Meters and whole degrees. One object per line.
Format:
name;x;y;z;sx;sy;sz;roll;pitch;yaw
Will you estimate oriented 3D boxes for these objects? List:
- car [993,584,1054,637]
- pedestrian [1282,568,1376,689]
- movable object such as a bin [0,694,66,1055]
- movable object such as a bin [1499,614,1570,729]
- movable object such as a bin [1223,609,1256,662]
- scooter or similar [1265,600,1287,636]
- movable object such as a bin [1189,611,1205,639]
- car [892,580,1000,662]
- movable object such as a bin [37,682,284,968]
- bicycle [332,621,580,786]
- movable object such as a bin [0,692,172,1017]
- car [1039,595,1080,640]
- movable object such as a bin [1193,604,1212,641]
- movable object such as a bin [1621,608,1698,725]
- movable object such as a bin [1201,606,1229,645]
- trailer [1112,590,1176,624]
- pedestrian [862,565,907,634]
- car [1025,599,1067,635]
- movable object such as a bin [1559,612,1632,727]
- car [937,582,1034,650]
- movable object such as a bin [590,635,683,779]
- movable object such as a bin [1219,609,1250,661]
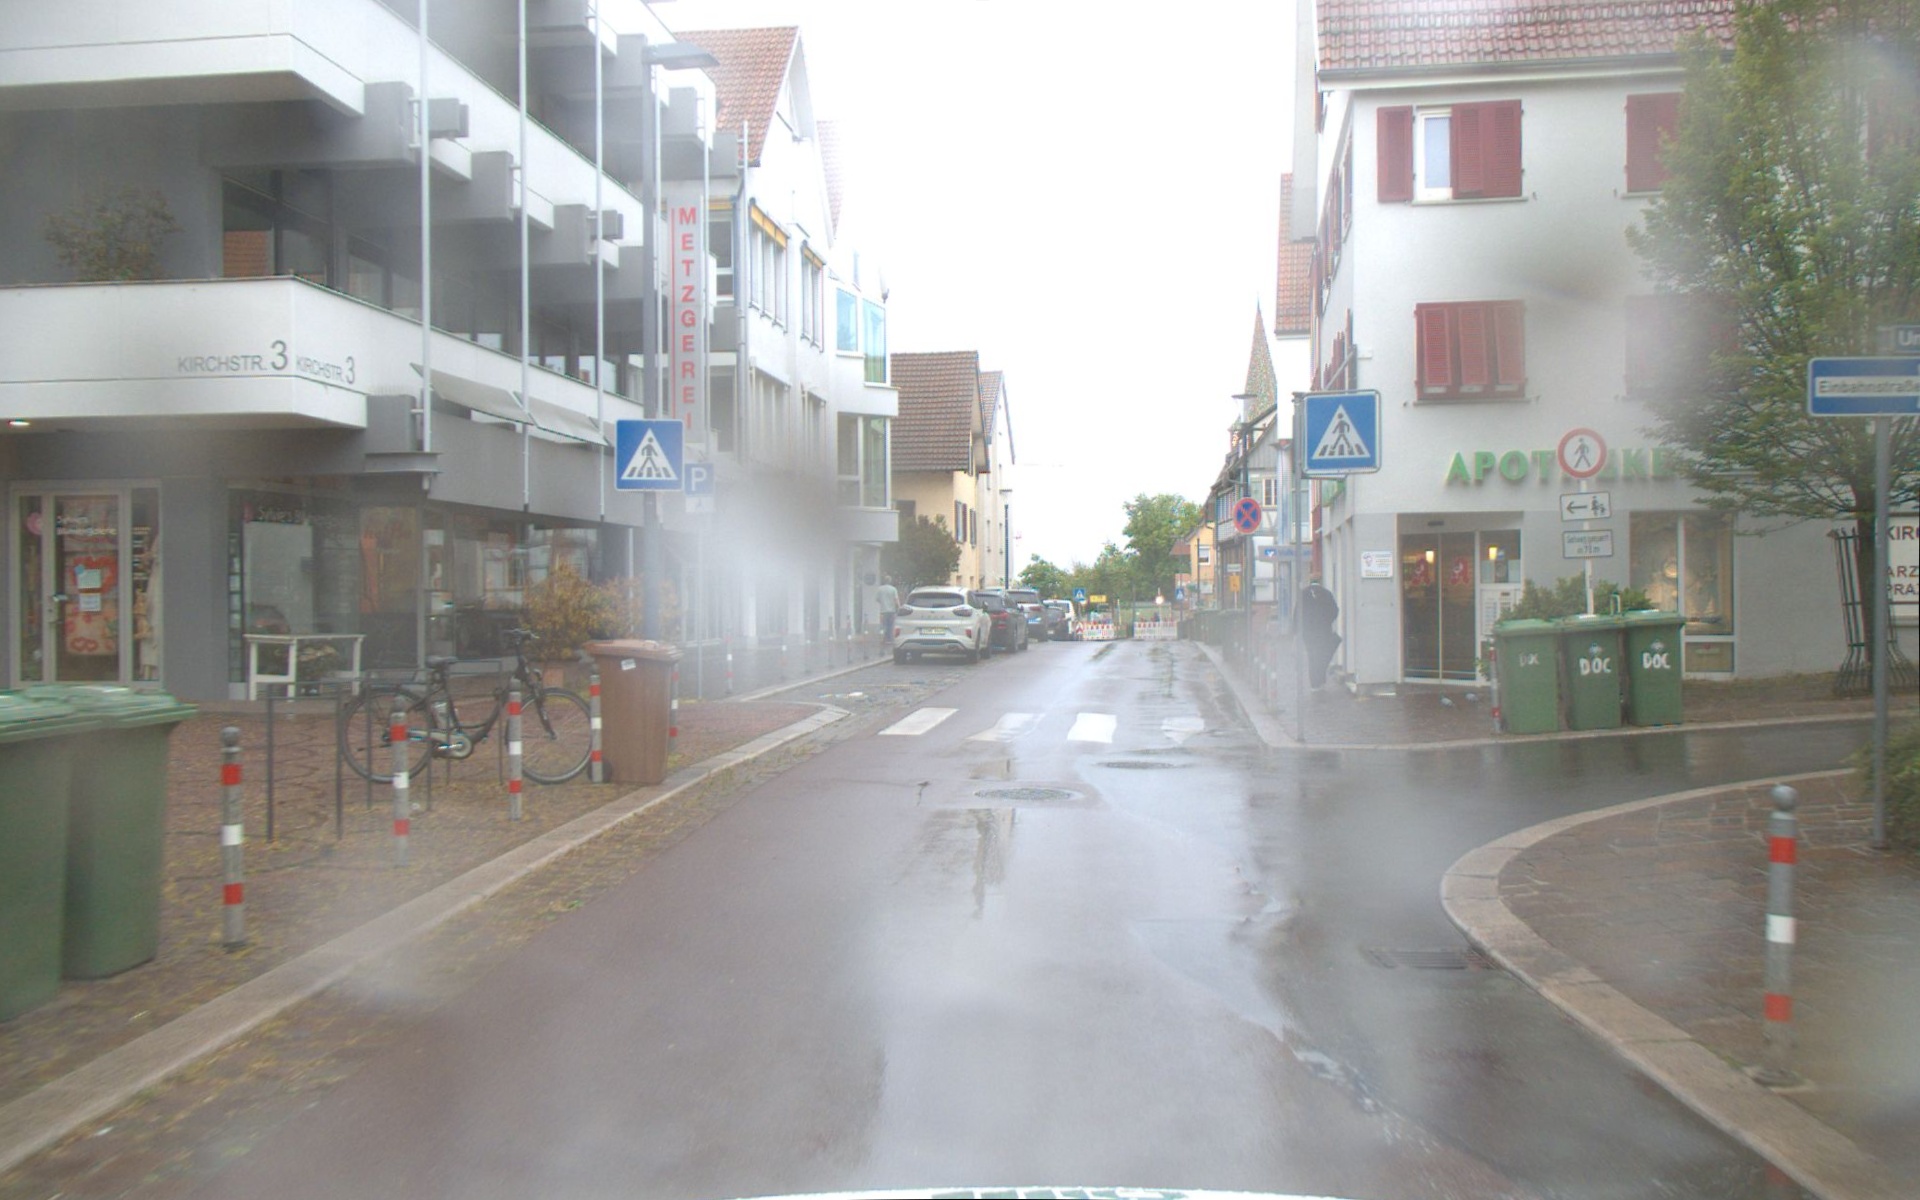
car;2.088;0.376;53.364;1.742;1.596;4.410;0;-2;5
pedestrian;5.462;0.415;24.565;1.153;1.727;1.178;-2;0;4
movable object such as a bin;-3.314;0.863;5.174;0.672;1.095;0.669;0;0;-2
movable object such as a bin;5.534;0.684;15.953;0.490;1.075;0.549;-2;-2;6
movable object such as a bin;5.887;0.745;34.874;0.662;1.105;0.718;0;-1;8
scooter or similar;10.548;0.619;55.138;0.651;1.166;1.447;0;-2;14
movable object such as a bin;10.061;1.053;70.109;0.624;1.167;0.604;0;-2;12
car;-0.237;0.390;34.771;1.753;1.578;4.003;2;1;6
movable object such as a bin;-3.196;0.878;6.666;0.672;1.057;0.669;0;0;-2
bicycle;-3.718;0.757;12.301;1.715;1.185;0.443;0;-2;-13
movable object such as a bin;-3.314;0.879;5.922;0.672;1.060;0.669;0;0;-2
car;4.375;0.796;72.262;1.687;1.857;4.430;0;-2;5
movable object such as a bin;8.696;0.808;59.297;0.624;1.313;0.632;0;-2;12
movable object such as a bin;6.673;0.632;15.795;0.490;1.075;0.549;-2;-2;6
movable object such as a bin;7.781;0.781;50.415;0.787;1.151;0.863;0;-2;5
trailer;16.573;0.628;149.083;5.661;2.999;2.000;0;-2;2
pedestrian;-2.020;-0.013;44.313;1.013;1.838;1.117;0;0;7
car;3.456;0.703;66.308;1.645;1.413;3.827;0;-2;4
movable object such as a bin;6.098;0.664;15.881;0.490;1.075;0.549;-2;-2;6
car;0.696;0.371;40.725;1.791;1.525;4.767;-1;0;8
movable object such as a bin;-2.436;0.793;12.506;0.674;1.038;0.630;0;0;-10
movable object such as a bin;5.914;0.751;35.651;0.662;1.103;0.698;0;-1;8
